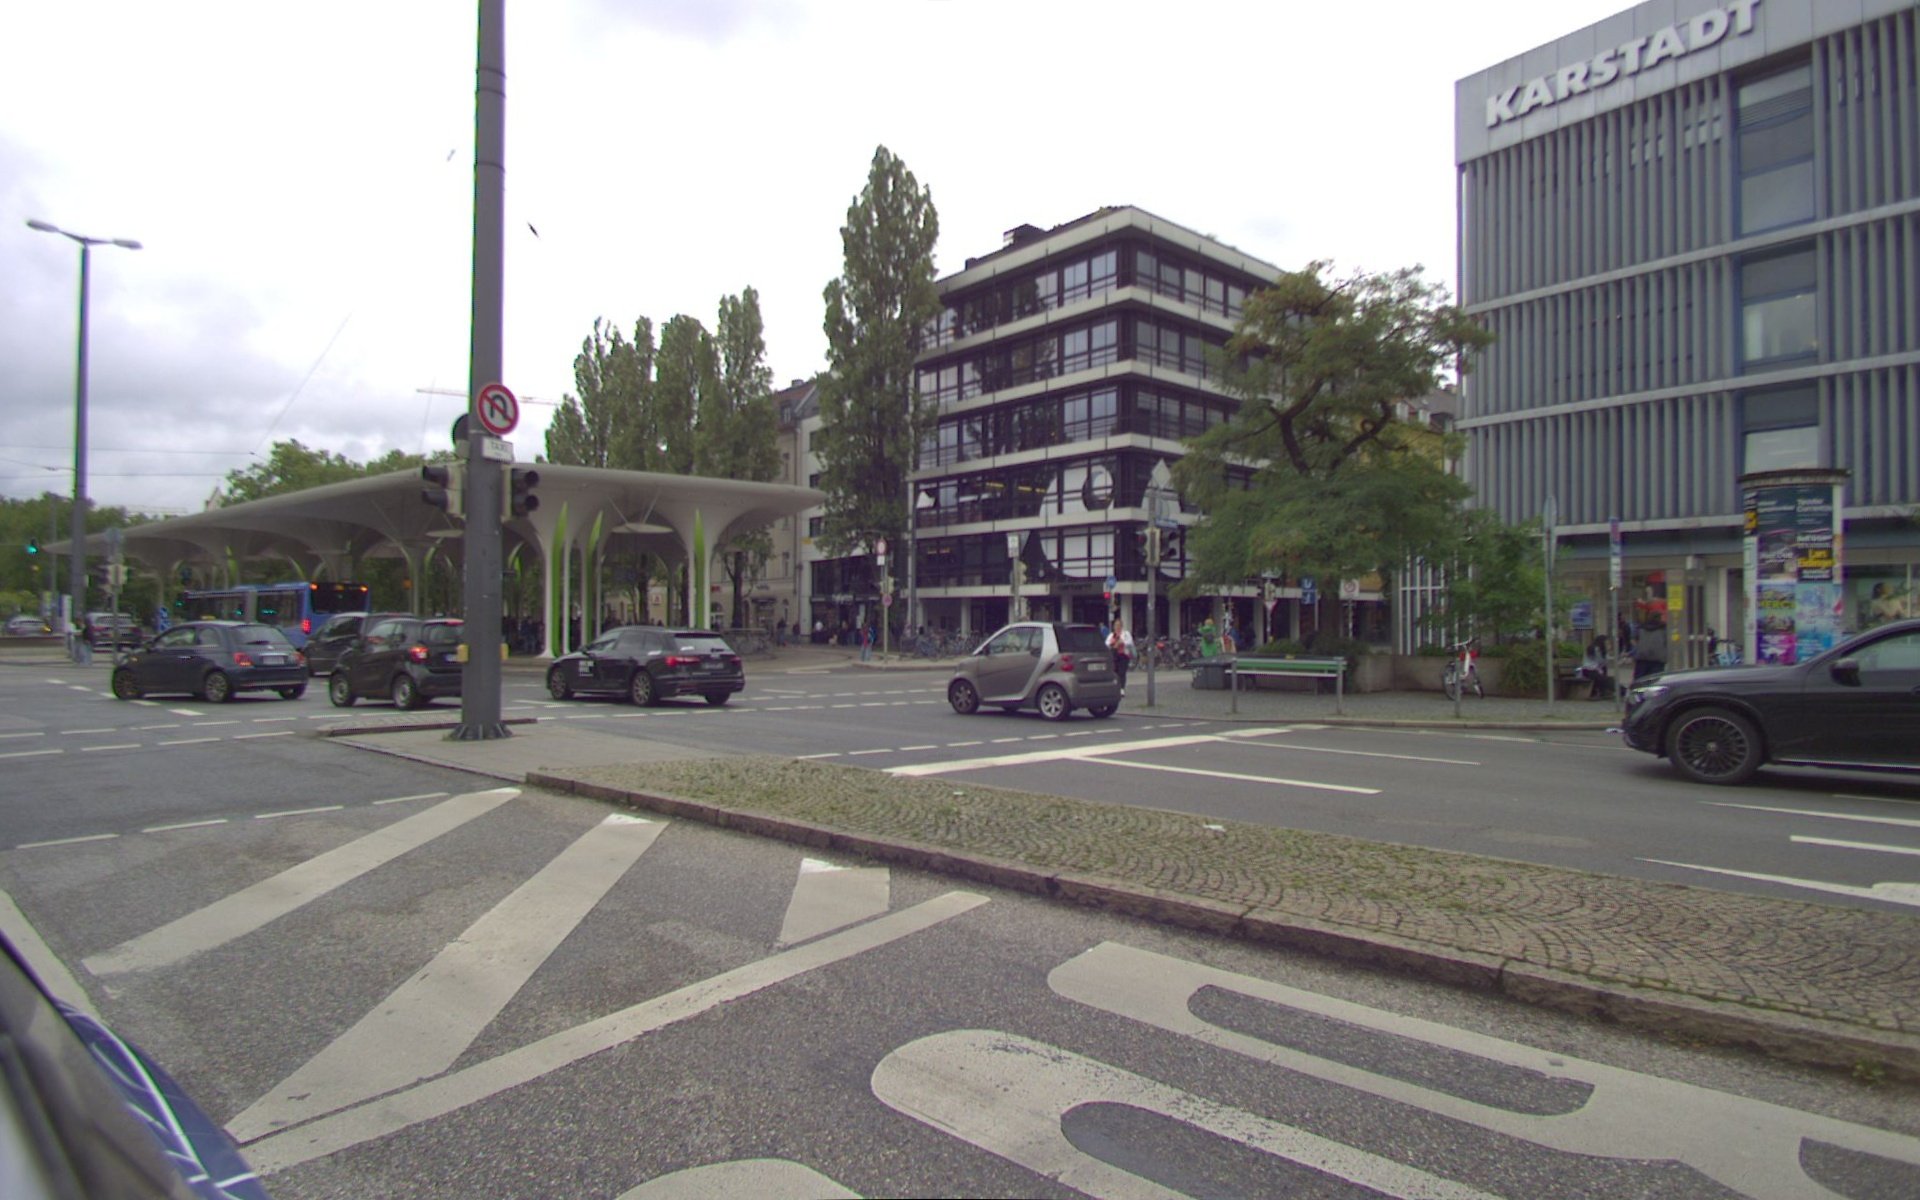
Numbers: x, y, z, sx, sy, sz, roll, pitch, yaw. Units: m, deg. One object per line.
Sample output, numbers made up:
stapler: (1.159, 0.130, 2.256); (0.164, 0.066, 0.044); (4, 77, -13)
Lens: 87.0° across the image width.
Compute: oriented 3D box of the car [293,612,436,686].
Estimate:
car: (-15.786, 1.241, 26.755); (4.305, 1.785, 1.973); (0, -3, 41)

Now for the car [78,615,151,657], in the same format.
car: (-36.306, 1.506, 43.428); (3.998, 1.696, 1.824); (0, 0, 41)

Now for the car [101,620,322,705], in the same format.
car: (-14.094, 1.148, 19.106); (3.358, 1.491, 1.620); (0, -3, 16)

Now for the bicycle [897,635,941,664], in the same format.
bicycle: (-1.607, 1.953, 39.852); (1.660, 1.106, 0.470); (0, -2, 16)

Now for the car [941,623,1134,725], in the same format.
car: (1.241, 1.146, 16.638); (2.746, 1.527, 1.652); (-1, -2, 41)

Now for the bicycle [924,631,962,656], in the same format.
bicycle: (-0.738, 1.924, 45.200); (1.655, 1.106, 0.472); (0, -2, 7)

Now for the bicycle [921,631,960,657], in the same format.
bicycle: (-0.839, 1.929, 44.255); (1.660, 1.106, 0.470); (0, -2, 16)

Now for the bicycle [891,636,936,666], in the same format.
bicycle: (-1.798, 1.958, 39.070); (1.660, 1.106, 0.470); (0, -2, 16)

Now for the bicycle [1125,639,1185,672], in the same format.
bicycle: (6.367, 1.803, 33.146); (1.924, 1.006, 0.503); (-1, -2, 41)

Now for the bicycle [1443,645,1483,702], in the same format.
bicycle: (9.540, 1.368, 19.174); (0.419, 1.024, 1.282); (-1, -2, 38)

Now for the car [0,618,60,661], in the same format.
car: (-35.467, 1.449, 38.104); (3.998, 1.481, 1.898); (0, 0, 41)

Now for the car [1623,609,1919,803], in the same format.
car: (8.736, 0.885, 8.861); (4.618, 1.589, 1.971); (-1, -2, 44)

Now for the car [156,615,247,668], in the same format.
car: (-26.332, 1.379, 35.080); (3.998, 1.696, 1.738); (0, 0, 41)

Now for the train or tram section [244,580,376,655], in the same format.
train or tram section: (-28.598, 0.808, 44.394); (7.402, 3.024, 2.804); (-1, -2, 40)

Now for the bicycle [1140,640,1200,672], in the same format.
bicycle: (6.912, 1.826, 33.390); (1.924, 1.006, 0.503); (-1, -2, 41)

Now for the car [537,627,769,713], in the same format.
car: (-5.854, 1.224, 19.050); (4.611, 1.427, 1.974); (-1, -2, 40)

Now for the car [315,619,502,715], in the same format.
car: (-9.503, 1.092, 17.442); (2.775, 1.518, 1.547); (-1, -1, 27)

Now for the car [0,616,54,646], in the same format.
car: (-51.769, 1.704, 56.087); (3.997, 1.549, 1.824); (0, 0, 40)

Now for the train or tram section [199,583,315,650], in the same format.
train or tram section: (-34.264, 0.854, 49.199); (7.402, 3.024, 2.804); (-1, -2, 40)

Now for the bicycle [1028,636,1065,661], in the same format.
bicycle: (4.111, 2.288, 48.121); (2.044, 1.142, 0.561); (2, -2, -45)

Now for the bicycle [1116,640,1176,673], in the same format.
bicycle: (5.982, 1.809, 32.651); (1.924, 1.006, 0.503); (-1, -2, 41)

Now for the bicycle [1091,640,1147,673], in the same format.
bicycle: (4.991, 1.768, 31.893); (1.750, 1.006, 0.503); (-1, -2, 41)

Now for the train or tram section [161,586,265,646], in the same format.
train or tram section: (-39.916, 0.898, 54.004); (7.402, 3.024, 2.804); (-1, -2, 40)

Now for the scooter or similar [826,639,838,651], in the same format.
scooter or similar: (-8.452, 2.961, 66.598); (0.511, 0.720, 0.681); (1, -2, -39)

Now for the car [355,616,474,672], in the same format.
car: (-16.771, 1.320, 31.049); (3.997, 1.597, 1.907); (-1, -2, 41)

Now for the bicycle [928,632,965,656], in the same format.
bicycle: (-0.629, 2.012, 46.466); (1.655, 1.106, 0.472); (0, -2, 7)

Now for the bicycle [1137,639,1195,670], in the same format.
bicycle: (6.963, 1.823, 34.276); (1.924, 1.006, 0.503); (-1, -2, 41)

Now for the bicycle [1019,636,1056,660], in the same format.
bicycle: (3.731, 2.290, 48.595); (2.044, 1.142, 0.561); (2, -2, -45)

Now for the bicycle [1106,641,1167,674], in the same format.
bicycle: (5.601, 1.814, 32.245); (1.924, 1.006, 0.503); (-1, -2, 41)

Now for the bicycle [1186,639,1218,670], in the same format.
bicycle: (8.100, 1.812, 33.925); (0.503, 1.006, 1.926); (0, -2, -3)
